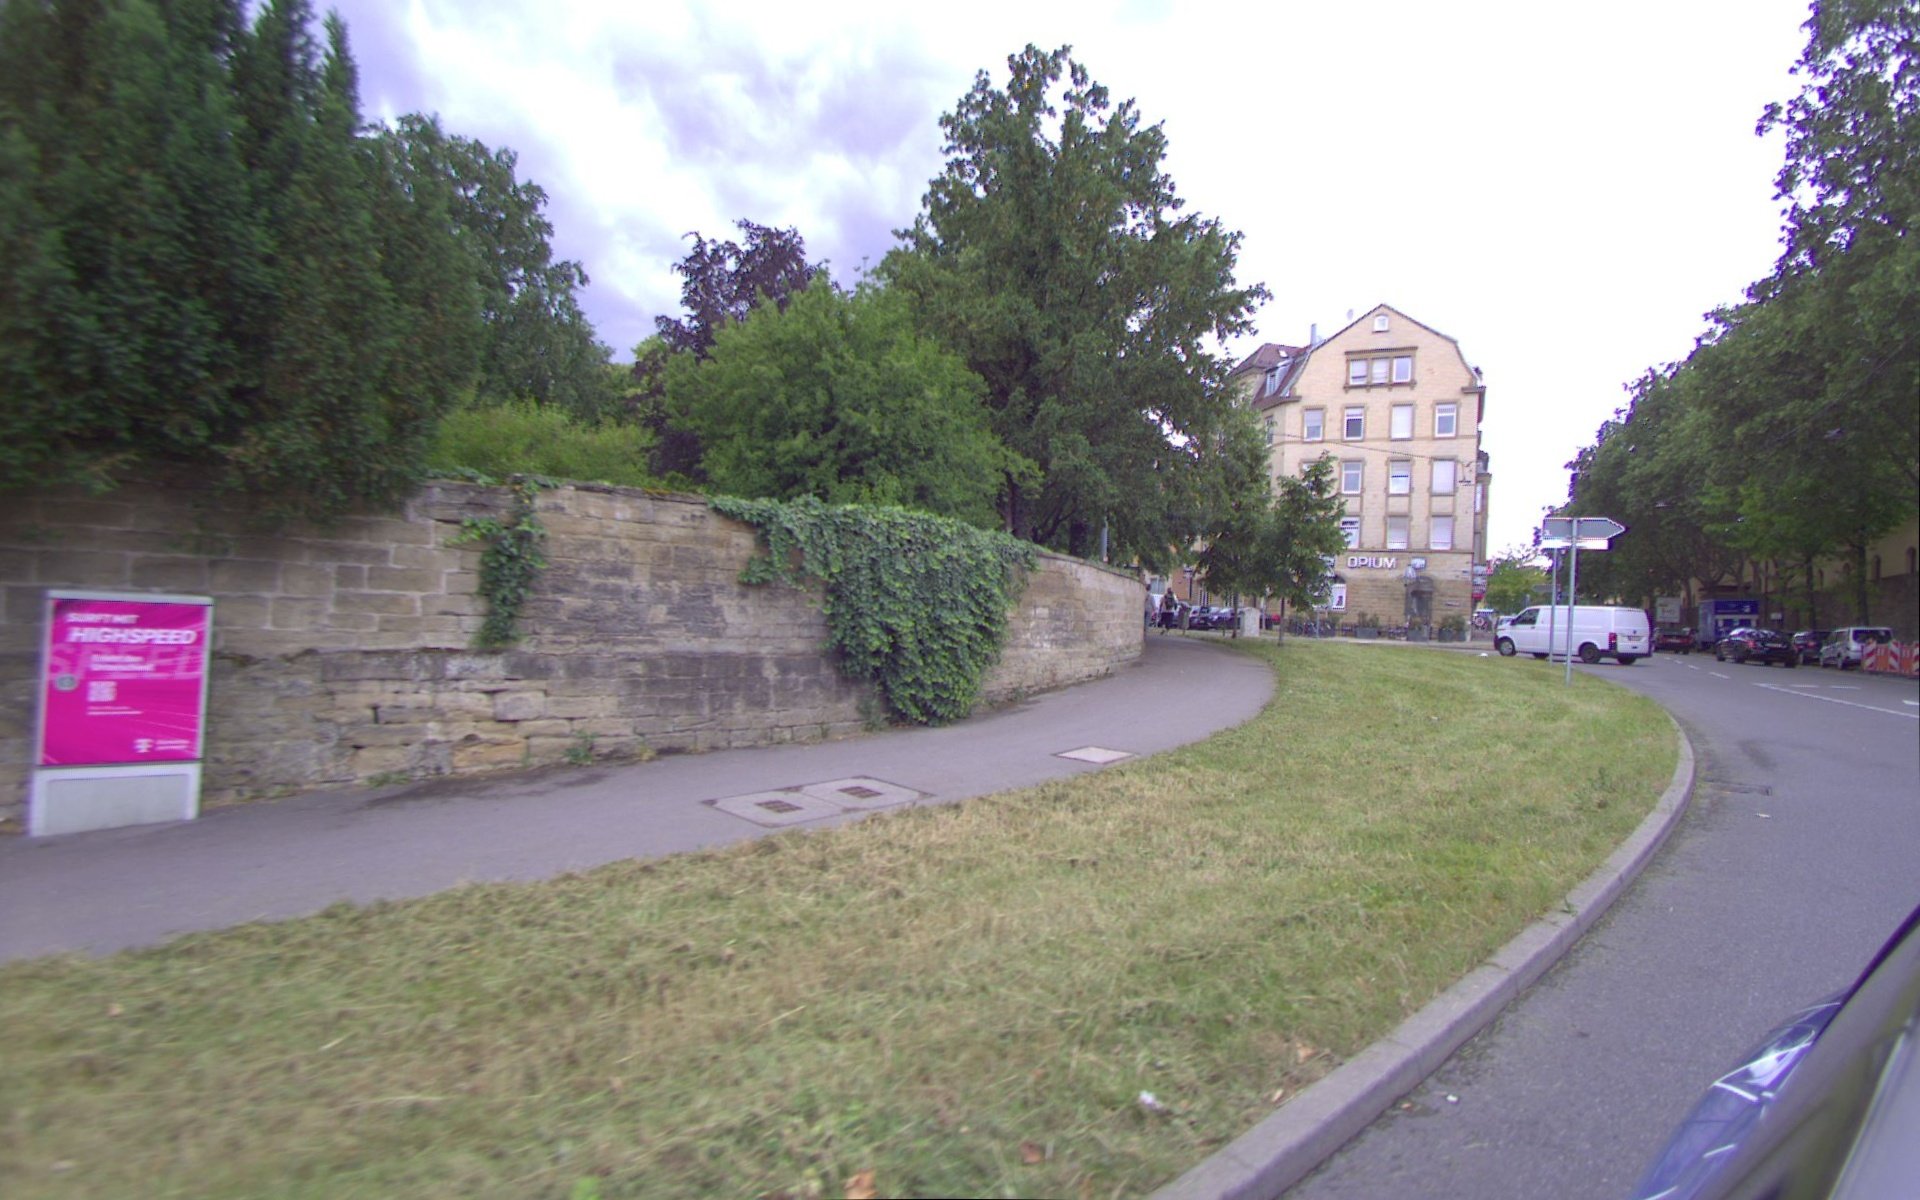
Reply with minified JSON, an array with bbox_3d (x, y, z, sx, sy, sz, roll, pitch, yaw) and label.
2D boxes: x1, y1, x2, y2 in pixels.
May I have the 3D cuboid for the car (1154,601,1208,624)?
[{"bbox_3d":[14.217,0.797,65.130,3.111,1.419,1.475,0,0,-22],"label":"car"}]

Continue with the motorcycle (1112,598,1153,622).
[{"bbox_3d":[8.611,0.500,50.523,1.977,1.184,0.556,0,-1,25],"label":"motorcycle"}]

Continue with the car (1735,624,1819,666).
[{"bbox_3d":[32.242,1.736,40.078,1.792,1.491,4.798,0,-1,29],"label":"car"}]

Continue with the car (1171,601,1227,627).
[{"bbox_3d":[14.854,0.843,62.874,3.094,1.555,1.551,1,-1,-23],"label":"car"}]

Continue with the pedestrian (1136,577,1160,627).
[{"bbox_3d":[6.261,0.049,33.684,0.570,1.605,0.575,4,0,-1],"label":"pedestrian"}]

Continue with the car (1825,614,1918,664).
[{"bbox_3d":[38.465,1.582,42.845,1.823,1.900,4.373,2,0,28],"label":"car"}]

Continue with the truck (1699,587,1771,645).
[{"bbox_3d":[48.898,1.009,64.039,2.200,3.460,7.180,0,-1,26],"label":"truck"}]

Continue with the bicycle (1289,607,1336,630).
[{"bbox_3d":[17.907,0.933,51.470,0.591,1.079,2.182,2,1,-44],"label":"bicycle"}]

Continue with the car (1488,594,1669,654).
[{"bbox_3d":[21.479,0.796,35.472,2.165,1.956,5.250,1,-1,-18],"label":"car"}]

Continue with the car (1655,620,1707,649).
[{"bbox_3d":[40.063,1.862,56.286,1.689,1.444,4.208,2,0,27],"label":"car"}]

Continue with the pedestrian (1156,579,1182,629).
[{"bbox_3d":[7.528,0.128,36.482,0.698,1.756,0.661,2,-1,-5],"label":"pedestrian"}]

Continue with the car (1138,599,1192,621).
[{"bbox_3d":[13.707,0.665,67.683,3.226,1.455,1.552,0,0,-20],"label":"car"}]

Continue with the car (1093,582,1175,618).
[{"bbox_3d":[12.481,-0.013,72.835,5.383,2.321,2.004,2,0,-12],"label":"car"}]

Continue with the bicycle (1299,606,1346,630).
[{"bbox_3d":[18.658,0.918,52.120,0.591,1.079,2.182,2,1,-44],"label":"bicycle"}]

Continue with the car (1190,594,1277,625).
[{"bbox_3d":[15.700,0.547,58.168,4.281,1.616,2.004,2,0,-14],"label":"car"}]
